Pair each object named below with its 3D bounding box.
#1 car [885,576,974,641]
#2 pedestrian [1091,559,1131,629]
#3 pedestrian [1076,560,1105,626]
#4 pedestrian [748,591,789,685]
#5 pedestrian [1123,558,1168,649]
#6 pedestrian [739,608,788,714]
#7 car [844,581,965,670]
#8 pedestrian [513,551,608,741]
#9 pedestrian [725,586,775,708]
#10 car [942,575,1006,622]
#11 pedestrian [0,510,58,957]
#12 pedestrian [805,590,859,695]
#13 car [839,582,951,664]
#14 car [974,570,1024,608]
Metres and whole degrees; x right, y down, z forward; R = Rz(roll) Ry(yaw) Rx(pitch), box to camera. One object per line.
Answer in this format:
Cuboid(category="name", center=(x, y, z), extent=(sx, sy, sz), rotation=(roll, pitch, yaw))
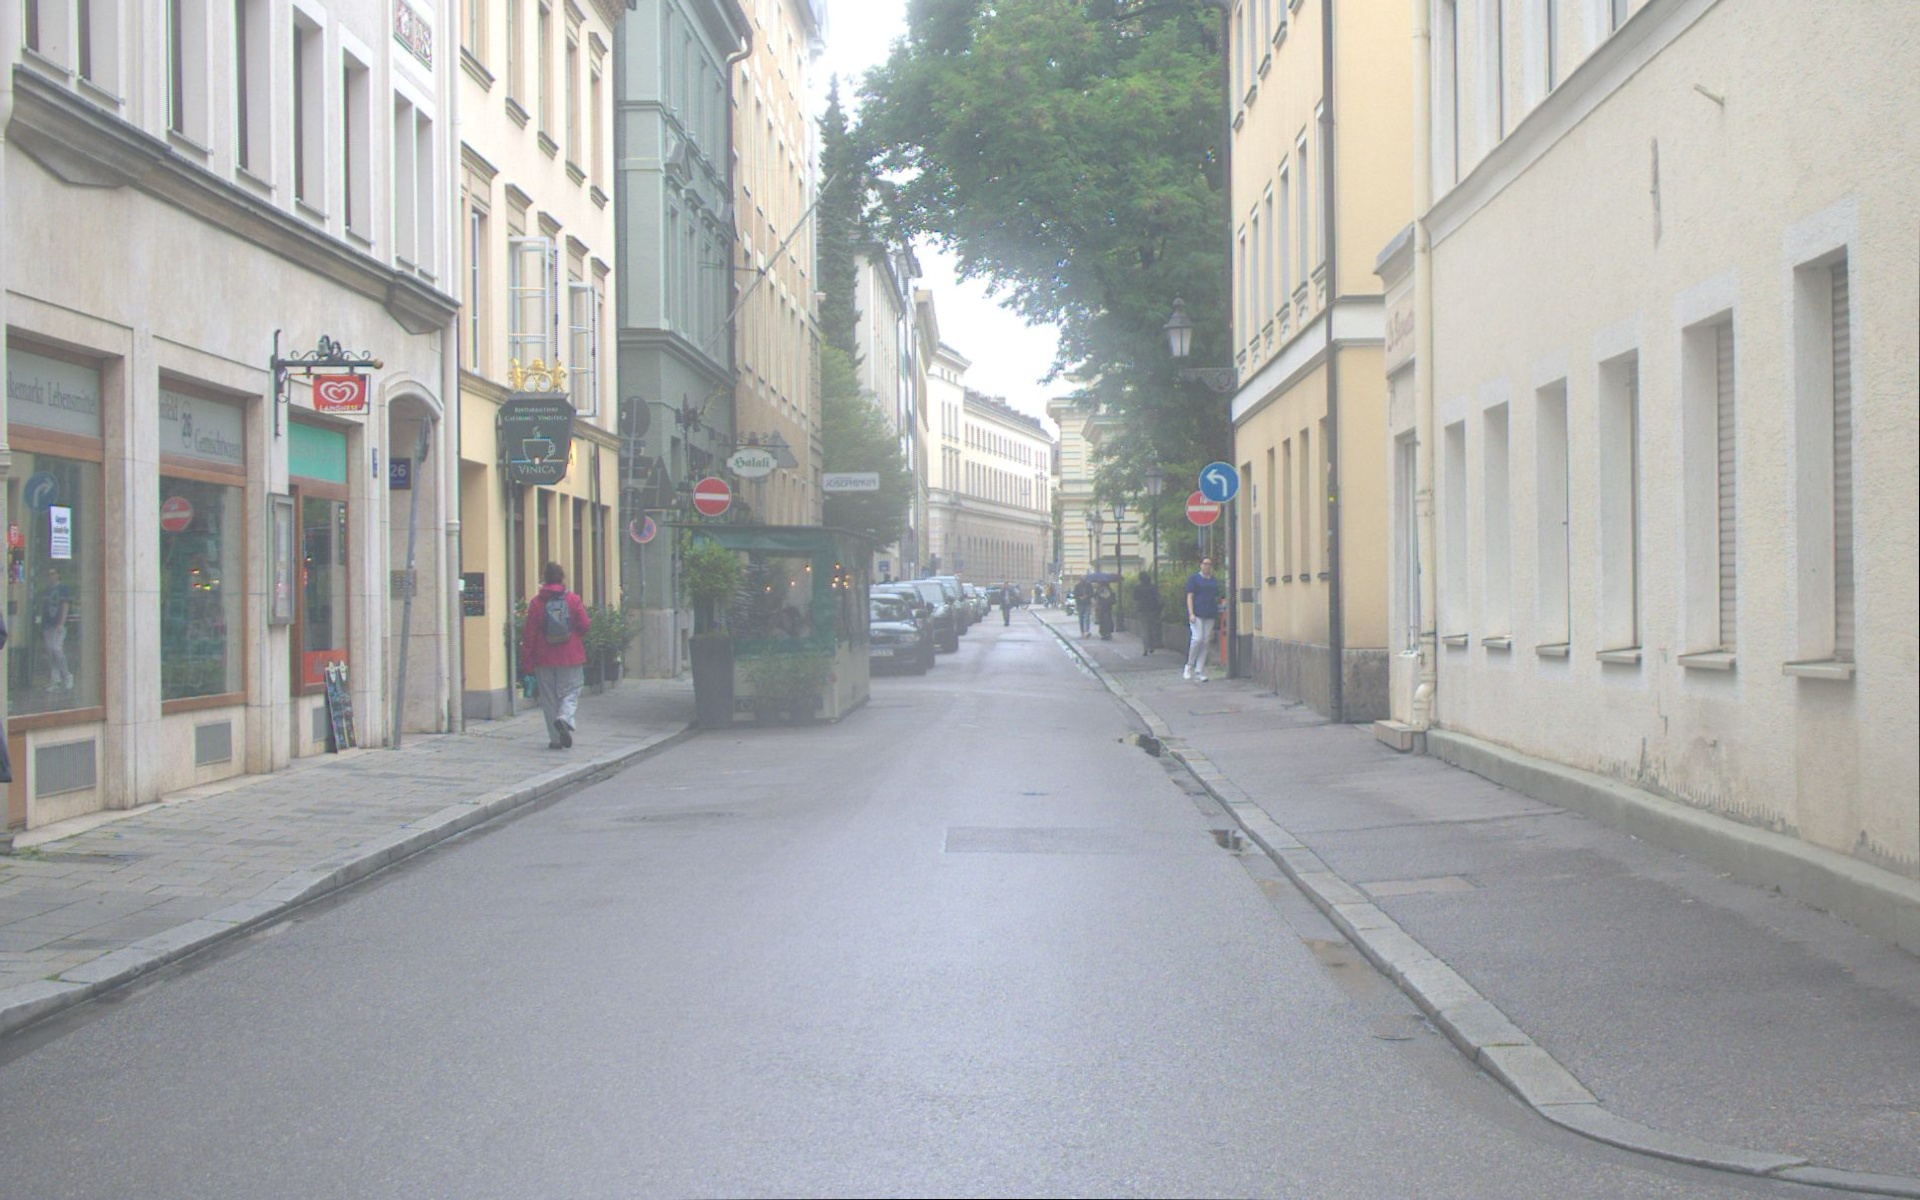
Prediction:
Cuboid(category="car", center=(-0.684, 0.180, 79.063), extent=(1.779, 1.461, 3.541), rotation=(0, 0, 4))
Cuboid(category="pedestrian", center=(3.897, -0.167, 88.829), extent=(1.015, 1.796, 1.349), rotation=(0, 0, 2))
Cuboid(category="pedestrian", center=(3.617, -0.197, 95.143), extent=(0.793, 1.796, 0.903), rotation=(0, 0, 2))
Cuboid(category="pedestrian", center=(-2.533, 0.501, 45.488), extent=(0.509, 1.233, 0.631), rotation=(0, 0, -1))
Cuboid(category="pedestrian", center=(3.713, 0.061, 68.834), extent=(0.880, 1.796, 1.046), rotation=(0, 0, 2))
Cuboid(category="pedestrian", center=(-2.224, 0.684, 38.933), extent=(0.509, 1.183, 0.631), rotation=(0, 0, -1))
Cuboid(category="car", center=(-0.922, 0.419, 59.398), extent=(1.779, 1.461, 3.662), rotation=(0, 0, 4))
Cuboid(category="pedestrian", center=(-3.644, 0.412, 31.428), extent=(0.765, 1.702, 0.785), rotation=(-1, 0, -1))
Cuboid(category="pedestrian", center=(-2.316, 0.512, 37.949), extent=(0.509, 1.322, 0.631), rotation=(0, 0, -1))
Cuboid(category="car", center=(0.462, -0.059, 108.770), extent=(1.779, 1.461, 3.541), rotation=(0, 0, 4))
Cuboid(category="pedestrian", center=(-4.184, 0.514, 13.935), extent=(0.809, 1.749, 0.990), rotation=(0, 2, -1))
Cuboid(category="pedestrian", center=(-1.637, 0.537, 44.043), extent=(0.673, 1.322, 0.696), rotation=(0, 0, -1))
Cuboid(category="car", center=(-1.182, 0.403, 64.115), extent=(1.779, 1.461, 3.541), rotation=(0, 0, 4))
Cuboid(category="car", center=(1.556, -0.449, 135.154), extent=(1.779, 1.461, 3.541), rotation=(0, 0, 4))
